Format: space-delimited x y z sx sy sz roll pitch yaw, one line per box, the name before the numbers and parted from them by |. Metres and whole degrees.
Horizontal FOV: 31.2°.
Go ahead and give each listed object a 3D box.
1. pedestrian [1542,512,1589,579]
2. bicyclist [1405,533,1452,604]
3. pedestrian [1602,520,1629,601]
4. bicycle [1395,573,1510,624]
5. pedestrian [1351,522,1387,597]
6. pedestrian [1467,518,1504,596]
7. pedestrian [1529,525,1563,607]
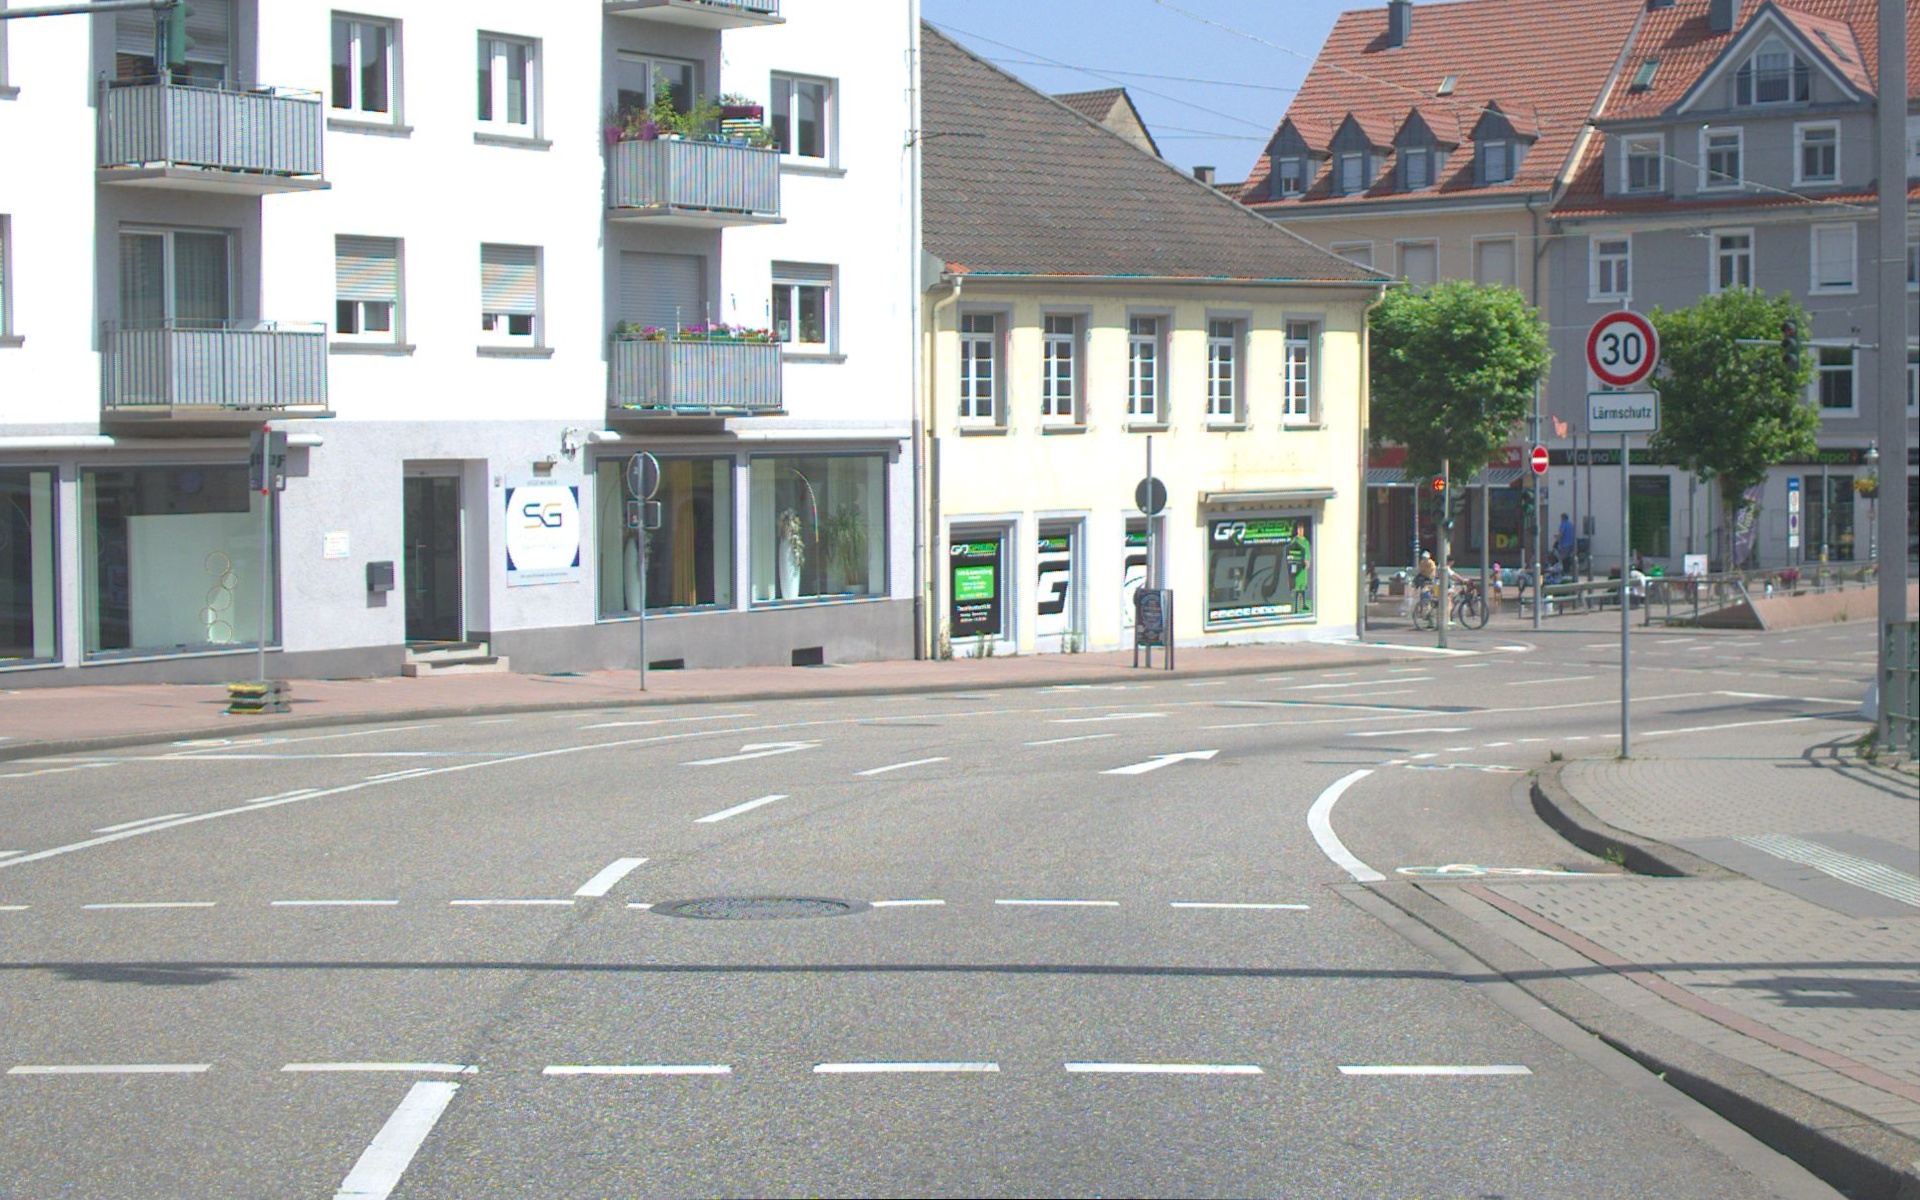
pedestrian | 18.063 -1.635 102.579 1.033 1.973 1.018 2 3 34
bicyclist | 10.291 -0.696 75.522 0.917 1.533 0.649 1 2 0
pedestrian | 16.461 -0.990 86.279 0.610 2.006 0.554 1 2 12
bicycle | 10.815 -0.042 75.571 2.354 1.047 1.072 1 3 -1
pedestrian | 10.358 -1.027 87.139 0.827 1.867 0.866 1 2 4
pedestrian | 13.431 -1.109 87.837 0.797 1.958 0.531 2 3 20
pedestrian | 14.572 -0.838 85.532 0.769 2.006 0.562 1 2 12
